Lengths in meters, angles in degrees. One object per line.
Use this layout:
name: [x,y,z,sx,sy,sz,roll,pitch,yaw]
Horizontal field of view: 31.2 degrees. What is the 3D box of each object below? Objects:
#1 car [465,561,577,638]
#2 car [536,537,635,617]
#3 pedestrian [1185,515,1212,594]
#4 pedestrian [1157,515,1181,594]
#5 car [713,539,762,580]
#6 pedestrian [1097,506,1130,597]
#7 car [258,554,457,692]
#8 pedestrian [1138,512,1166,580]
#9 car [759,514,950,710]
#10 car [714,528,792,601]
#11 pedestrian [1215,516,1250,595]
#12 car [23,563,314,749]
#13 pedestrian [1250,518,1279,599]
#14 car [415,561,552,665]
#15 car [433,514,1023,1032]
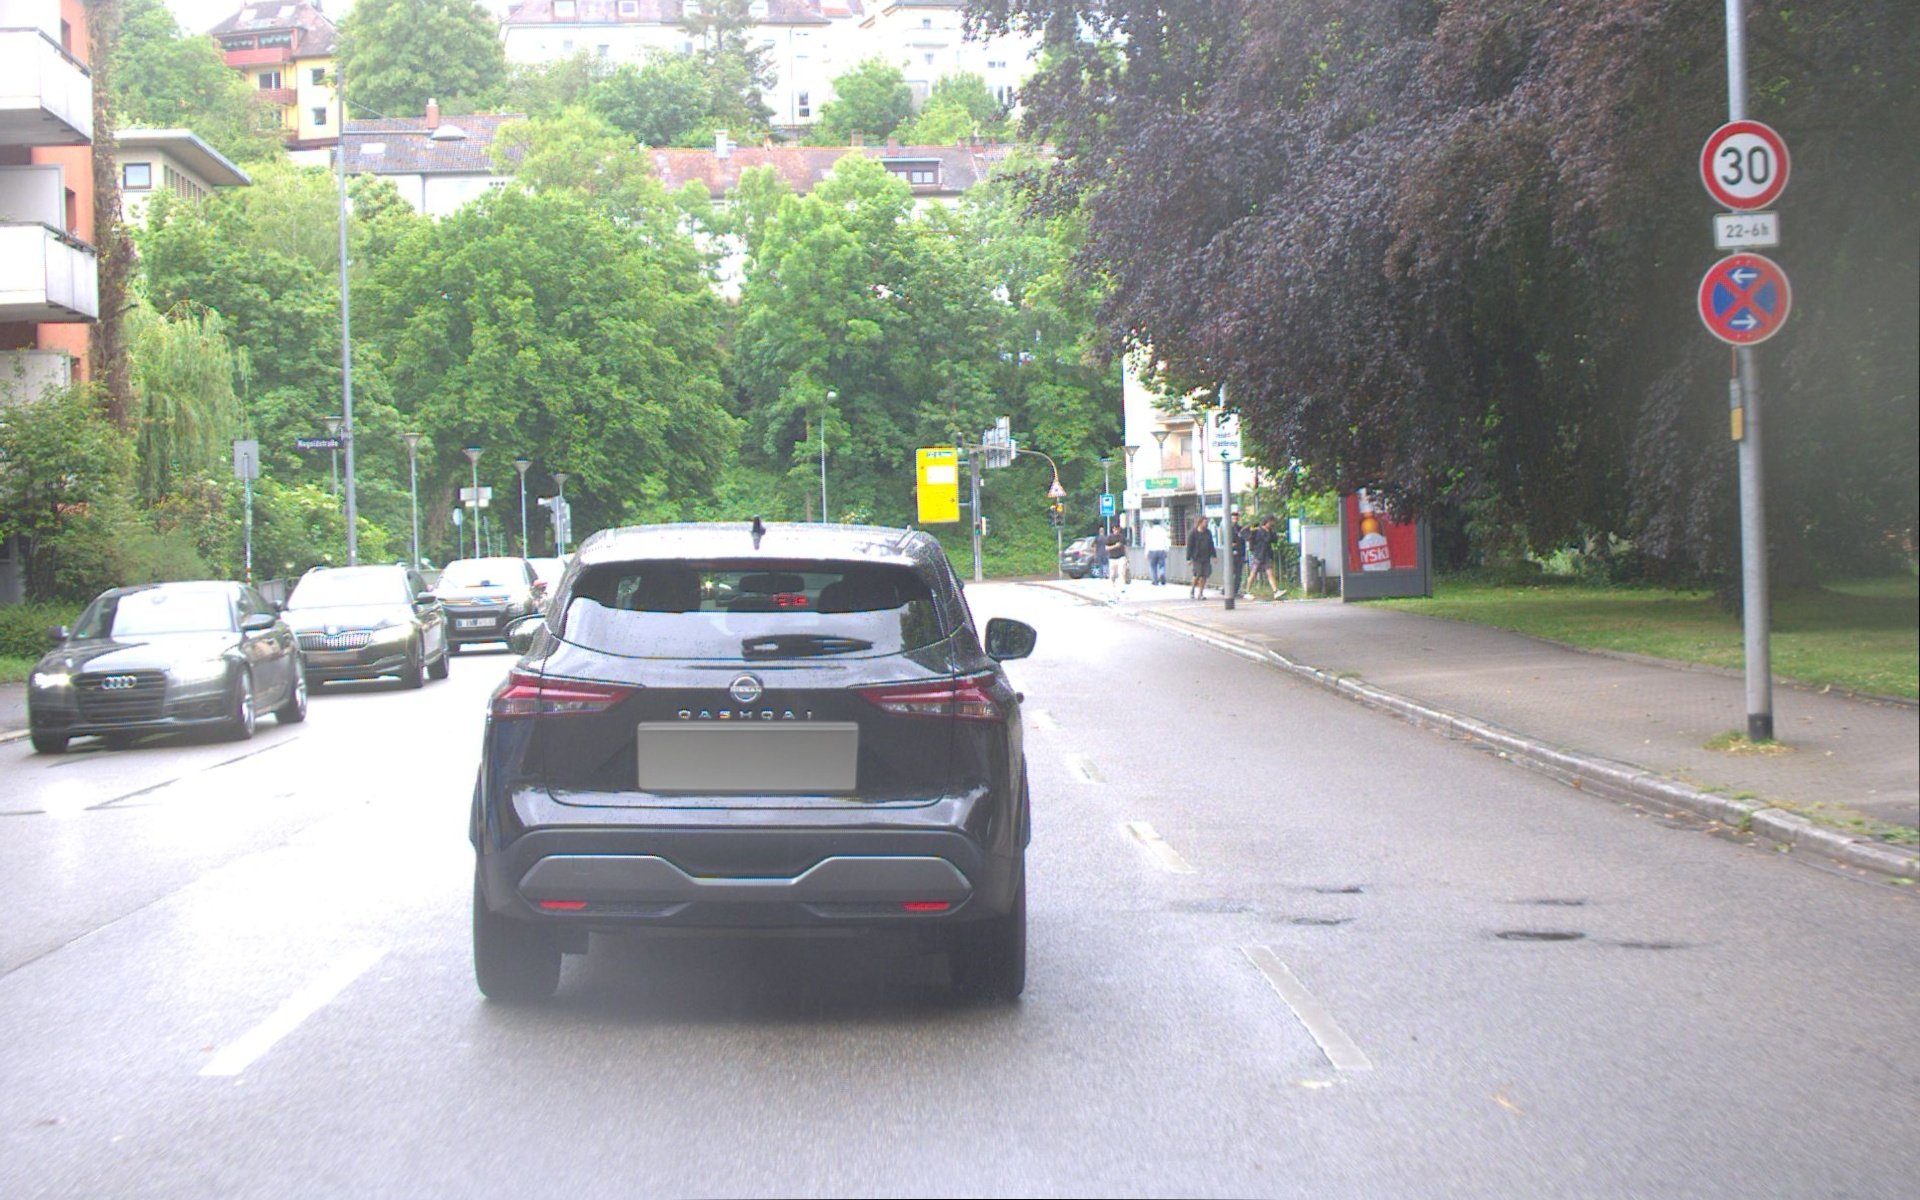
car: [-8.097,-0.030,63.693,1.676,1.291,3.752,-3,1,-2]
car: [-8.138,-0.526,74.899,1.750,1.628,3.635,-2,1,-1]
pedestrian: [5.008,-0.946,72.164,0.544,1.645,0.490,1,0,5]
pedestrian: [4.376,-0.952,71.983,0.475,1.645,0.490,1,0,5]
car: [-8.336,-1.522,128.983,1.718,1.463,3.686,-2,1,-3]
pedestrian: [3.704,-1.173,83.214,0.768,2.176,0.711,1,0,2]
car: [-7.181,0.233,41.327,1.747,1.464,4.217,-3,1,-2]
pedestrian: [5.074,-1.427,90.823,0.618,1.773,0.778,-2,1,-1]
car: [-0.959,0.082,32.863,1.622,1.703,3.771,-2,1,0]
car: [-5.278,-0.921,87.992,1.763,1.752,3.635,-2,1,-1]
pedestrian: [5.728,-0.939,72.222,0.699,1.645,0.628,1,0,5]
car: [-7.148,0.458,31.442,1.775,1.464,4.217,-3,1,-2]
pedestrian: [6.291,-0.858,70.979,0.514,1.650,0.550,1,0,-1]
car: [-7.484,0.168,54.323,1.676,1.464,4.217,-3,1,-2]
car: [-0.763,0.529,12.626,1.806,1.584,4.000,1,0,-1]
